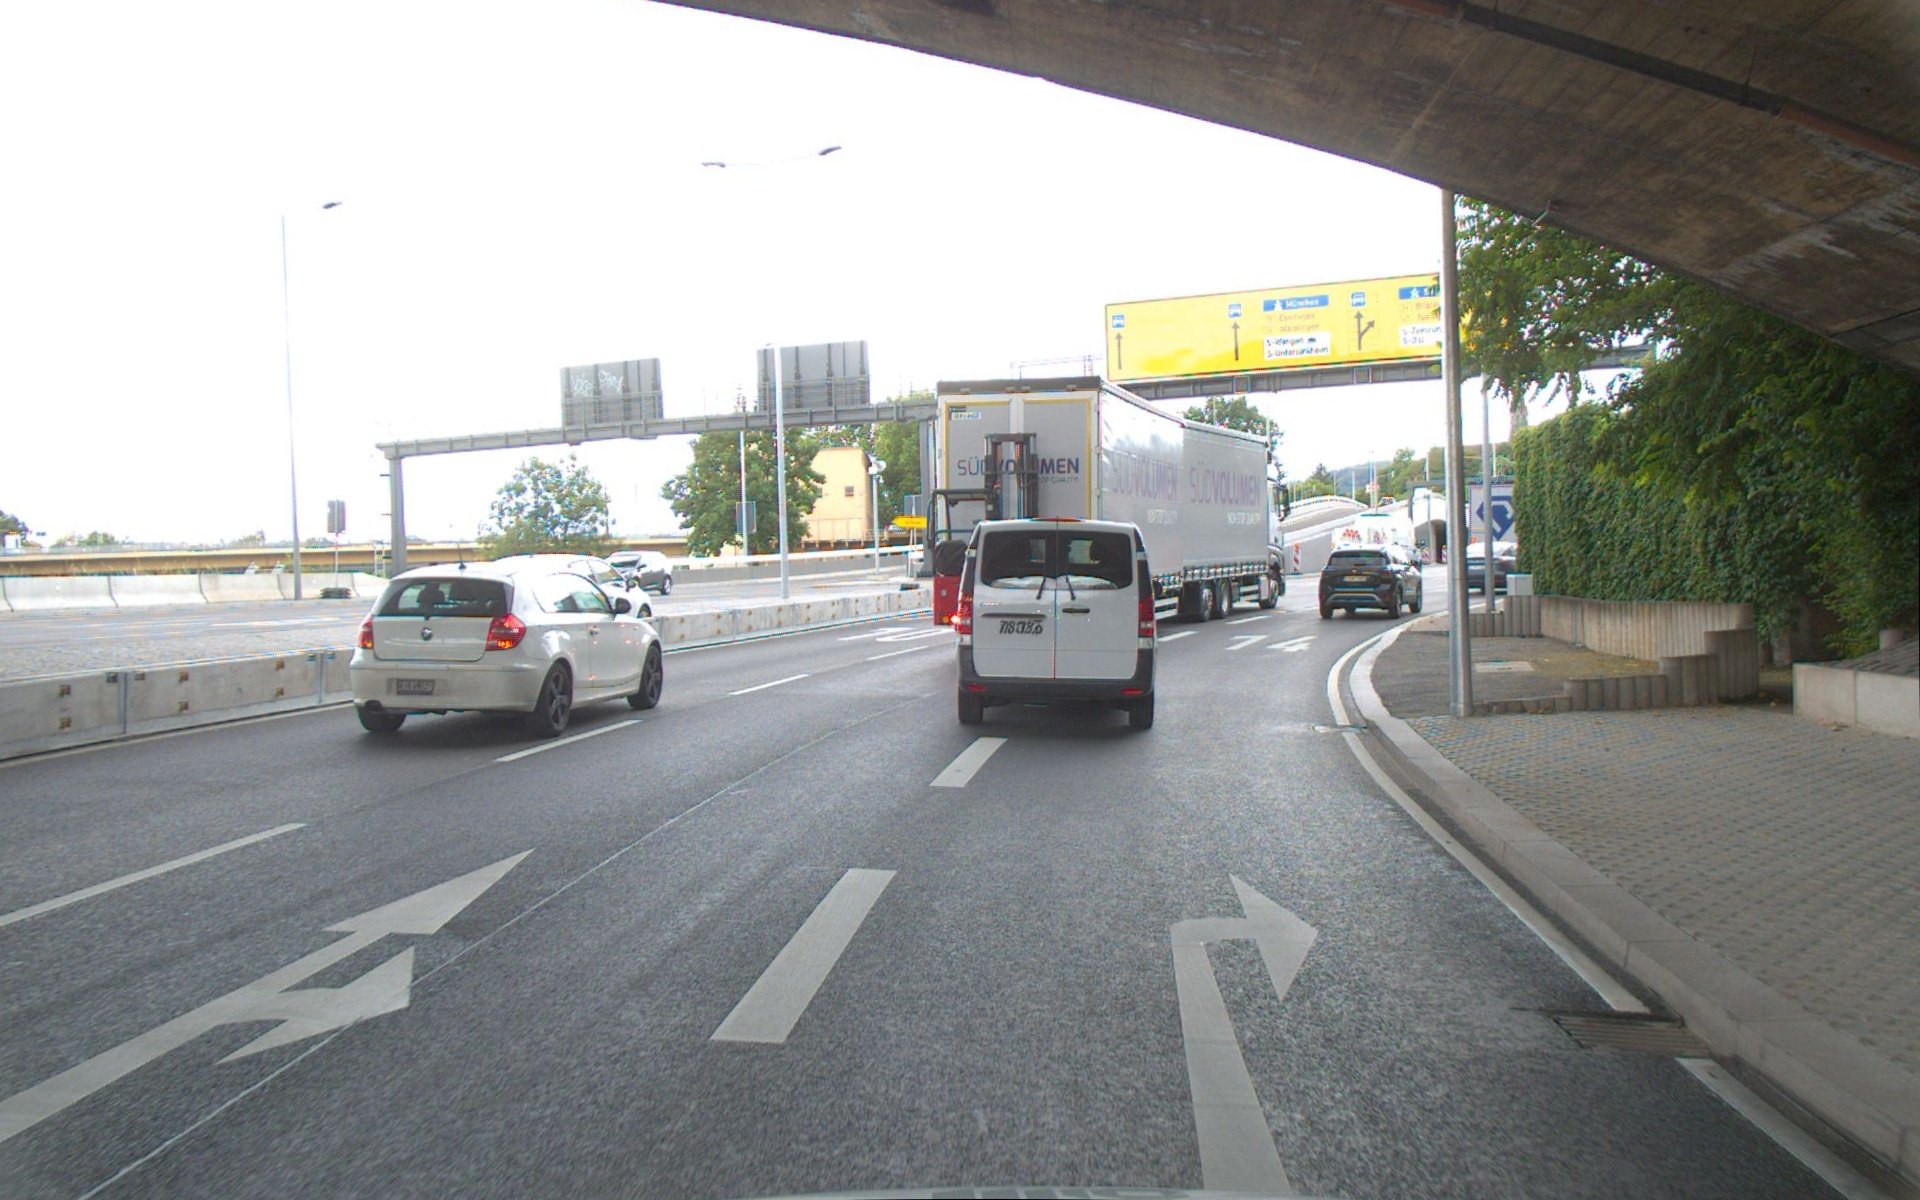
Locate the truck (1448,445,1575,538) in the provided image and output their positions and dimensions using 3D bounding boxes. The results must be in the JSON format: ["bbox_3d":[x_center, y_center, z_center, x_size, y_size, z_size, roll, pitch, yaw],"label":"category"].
[{"bbox_3d":[26.156,-4.872,77.744,3.252,3.875,16.577,1,2,27],"label":"truck"}]

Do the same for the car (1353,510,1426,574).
[{"bbox_3d":[18.140,-2.452,69.724,1.955,2.585,5.170,1,2,26],"label":"car"}]

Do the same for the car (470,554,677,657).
[{"bbox_3d":[-6.039,0.050,26.286,1.542,1.510,4.001,0,1,14],"label":"car"}]

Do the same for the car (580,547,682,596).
[{"bbox_3d":[-11.272,-1.011,56.895,1.699,1.608,4.152,0,2,16],"label":"car"}]

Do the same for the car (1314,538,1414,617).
[{"bbox_3d":[9.074,-0.531,36.967,1.713,1.653,3.846,0,2,20],"label":"car"}]

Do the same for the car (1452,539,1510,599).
[{"bbox_3d":[15.203,-0.874,48.153,1.470,1.494,3.399,3,-1,19],"label":"car"}]

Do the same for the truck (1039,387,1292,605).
[{"bbox_3d":[5.079,-2.182,38.062,2.927,4.248,11.240,1,1,22],"label":"truck"}]

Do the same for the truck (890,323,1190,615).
[{"bbox_3d":[1.776,-1.969,28.472,2.856,4.086,10.208,0,1,16],"label":"truck"}]

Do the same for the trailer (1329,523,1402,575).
[{"bbox_3d":[16.108,-2.056,65.588,1.955,1.991,4.075,1,2,26],"label":"trailer"}]

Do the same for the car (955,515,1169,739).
[{"bbox_3d":[1.141,0.136,16.727,1.836,1.923,4.758,1,2,6],"label":"car"}]

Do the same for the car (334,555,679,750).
[{"bbox_3d":[-3.935,0.358,15.063,1.603,1.457,3.986,1,2,7],"label":"car"}]
